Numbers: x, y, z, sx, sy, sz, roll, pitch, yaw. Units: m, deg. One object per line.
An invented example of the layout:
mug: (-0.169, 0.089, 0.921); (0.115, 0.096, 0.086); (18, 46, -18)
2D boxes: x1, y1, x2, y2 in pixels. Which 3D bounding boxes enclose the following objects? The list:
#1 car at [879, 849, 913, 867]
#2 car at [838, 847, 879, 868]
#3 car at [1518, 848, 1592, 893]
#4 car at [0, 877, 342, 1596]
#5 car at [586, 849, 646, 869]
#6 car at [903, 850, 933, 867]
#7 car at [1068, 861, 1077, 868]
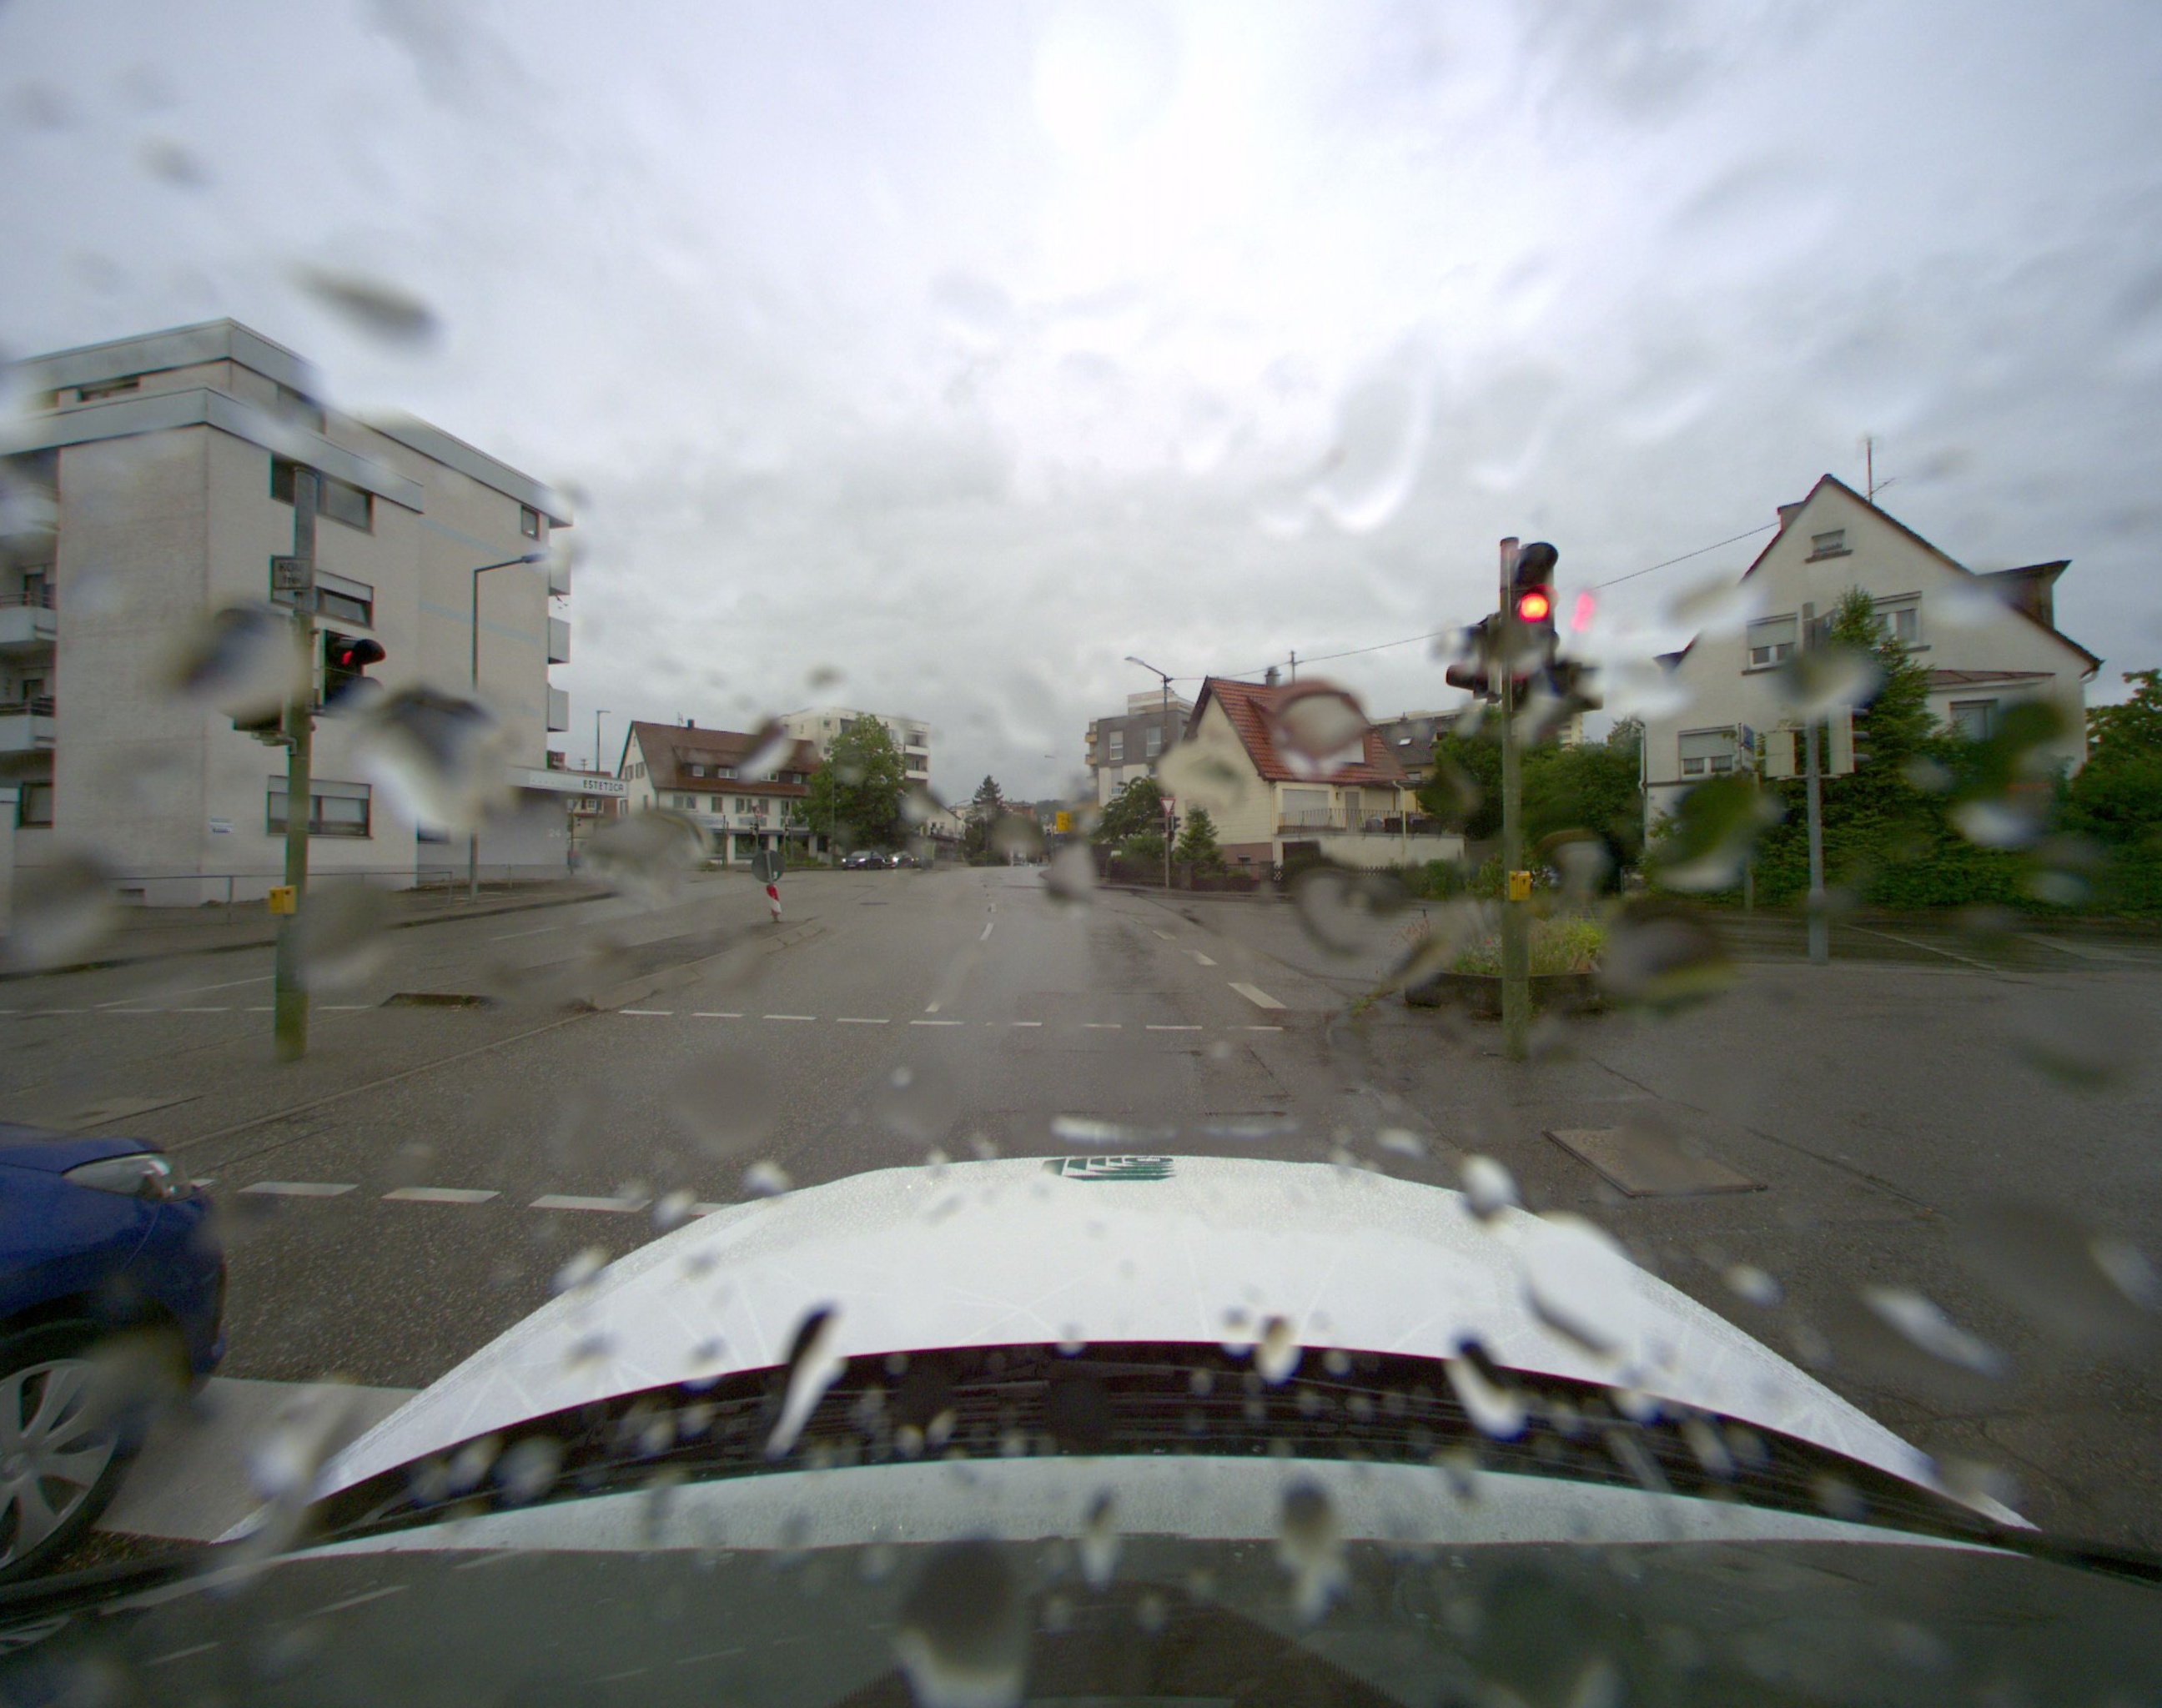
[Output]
car: (-15.013, 0.287, 66.107); (1.708, 1.387, 4.022); (0, 0, 2)
car: (-16.006, 0.232, 58.767); (1.772, 1.420, 3.832); (0, 0, 2)
car: (17.101, 0.531, 29.320); (1.723, 1.514, 4.025); (0, 0, 39)
car: (-2.981, 0.780, 0.727); (1.572, 1.410, 3.272); (0, 0, 2)
car: (-38.318, 0.386, 67.127); (3.988, 1.572, 1.850); (0, 0, -42)
car: (-14.372, 0.351, 71.959); (1.772, 1.420, 3.832); (0, 0, 2)
car: (-2.058, 2.564, 200.399); (1.805, 1.486, 4.192); (-1, 0, 3)
